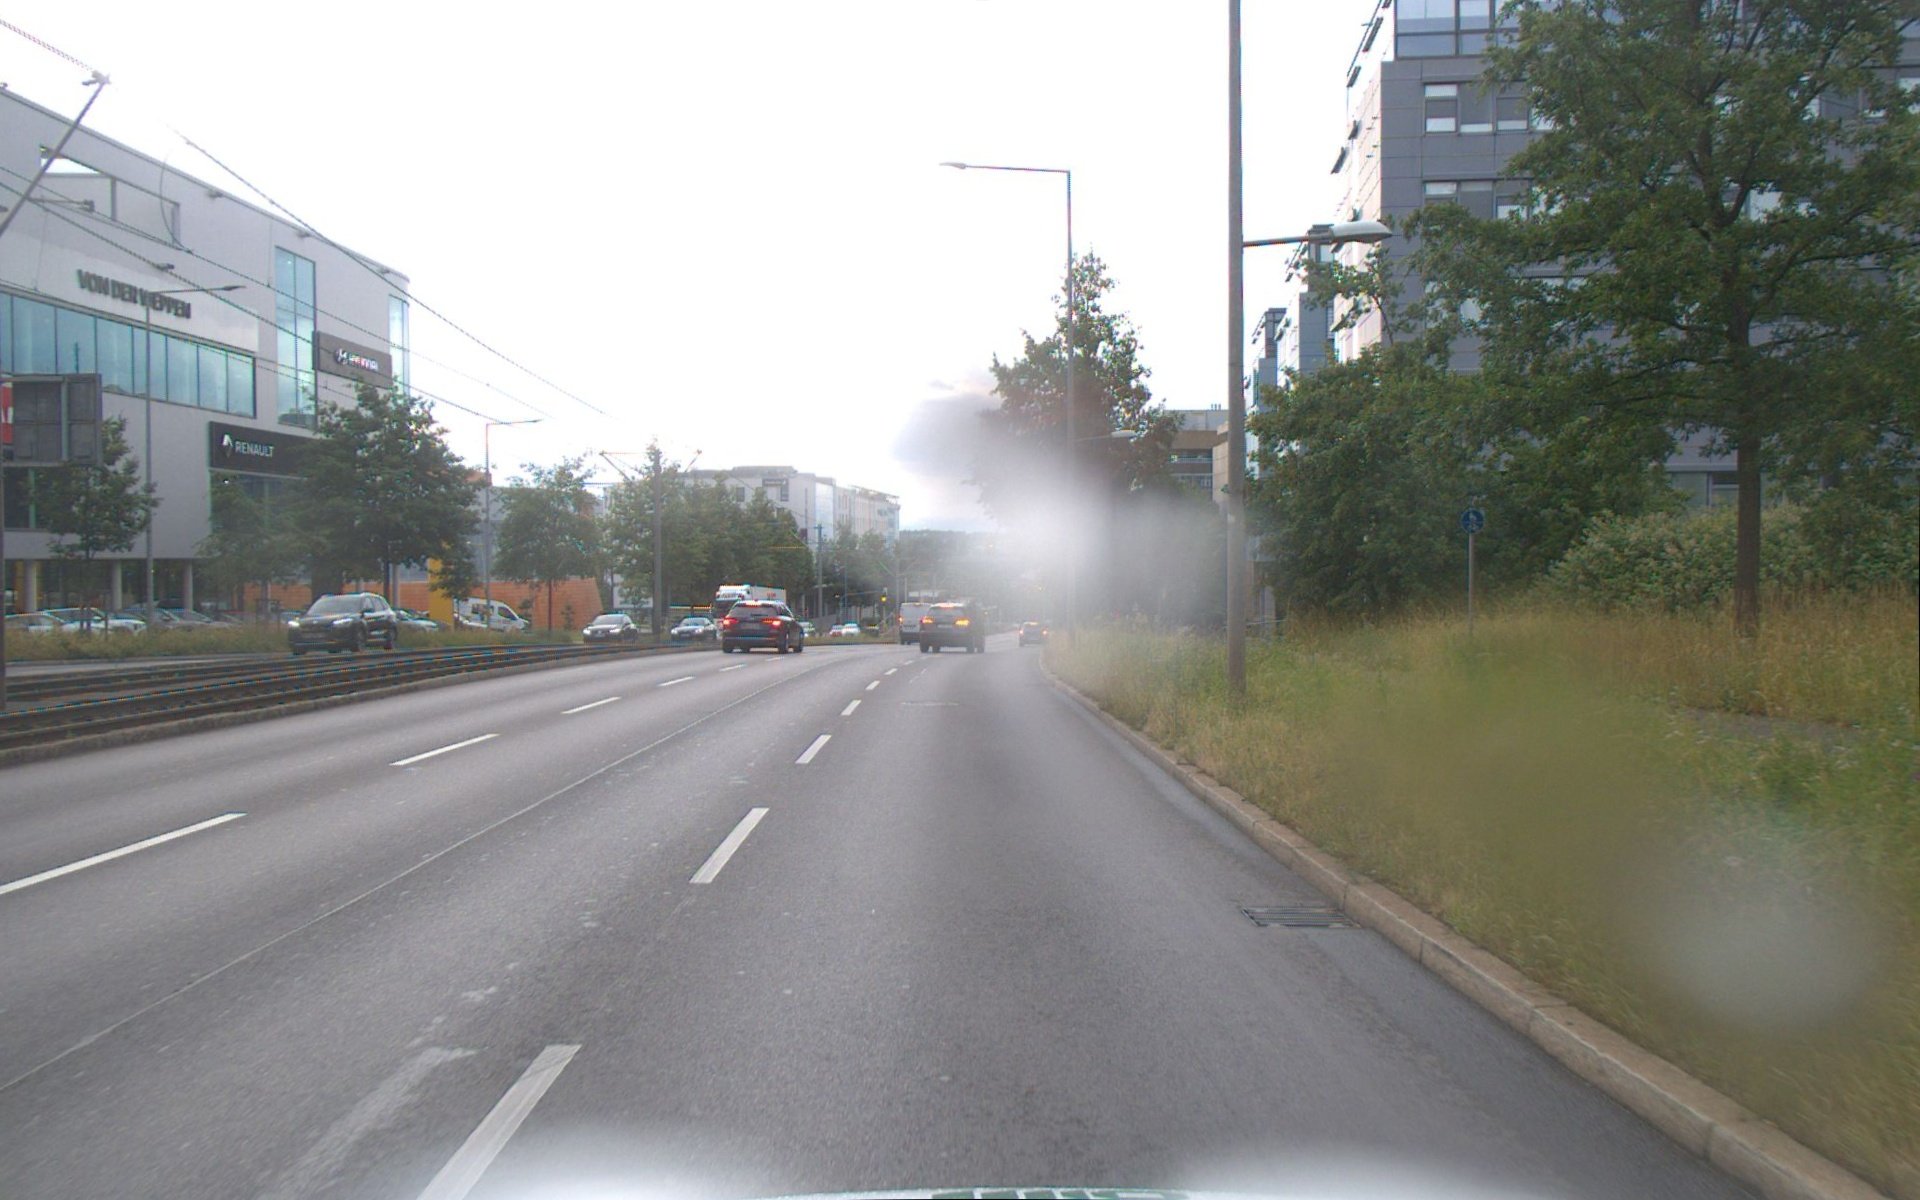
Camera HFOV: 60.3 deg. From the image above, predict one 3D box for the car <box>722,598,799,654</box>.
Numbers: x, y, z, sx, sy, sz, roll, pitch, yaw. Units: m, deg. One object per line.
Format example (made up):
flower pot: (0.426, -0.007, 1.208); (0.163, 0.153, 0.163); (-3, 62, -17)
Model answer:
car: (-5.488, 0.694, 46.007); (1.750, 1.438, 4.803); (1, 0, -3)

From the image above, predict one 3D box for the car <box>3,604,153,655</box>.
car: (-32.634, 1.099, 61.358); (4.549, 1.859, 2.010); (0, -1, -17)

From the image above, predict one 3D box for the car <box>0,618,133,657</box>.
car: (-31.849, 1.321, 58.659); (4.254, 1.330, 1.863); (0, -1, -18)

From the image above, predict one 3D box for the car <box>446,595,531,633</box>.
car: (-31.234, 0.960, 109.607); (5.210, 2.353, 2.014); (2, -2, -12)

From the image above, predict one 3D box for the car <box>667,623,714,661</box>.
car: (-15.088, 2.378, 92.880); (1.973, 2.011, 4.614); (2, -2, -2)

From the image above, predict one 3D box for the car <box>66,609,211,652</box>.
car: (-33.117, 1.241, 66.824); (4.923, 1.683, 2.010); (0, -1, -17)

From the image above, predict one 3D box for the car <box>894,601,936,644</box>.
car: (-2.493, 1.240, 92.765); (2.222, 2.325, 4.758); (1, 0, -1)

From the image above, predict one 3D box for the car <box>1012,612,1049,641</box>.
car: (4.182, 1.566, 98.385); (1.754, 1.619, 3.996); (-1, 0, -4)

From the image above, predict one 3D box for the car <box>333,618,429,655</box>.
car: (-31.607, 1.991, 90.378); (4.509, 2.011, 2.019); (0, -1, -3)

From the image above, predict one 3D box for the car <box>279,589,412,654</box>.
car: (-16.527, 0.607, 44.706); (1.767, 1.645, 4.386); (1, -2, 2)

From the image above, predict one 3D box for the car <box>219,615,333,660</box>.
car: (-30.930, 1.707, 74.932); (4.528, 2.011, 2.010); (0, -1, -17)

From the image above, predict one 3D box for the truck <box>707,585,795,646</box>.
truck: (-15.602, 1.115, 125.298); (2.978, 4.254, 17.211); (1, 0, 5)

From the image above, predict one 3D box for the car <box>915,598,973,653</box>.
car: (-0.520, 0.846, 56.638); (1.883, 1.740, 4.098); (1, 0, 0)

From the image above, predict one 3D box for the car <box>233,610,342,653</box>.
car: (-32.416, 1.524, 79.810); (4.519, 2.011, 2.015); (0, -1, -11)

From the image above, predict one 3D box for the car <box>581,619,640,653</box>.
car: (-16.006, 1.657, 75.906); (1.633, 1.487, 4.239); (1, -2, 2)

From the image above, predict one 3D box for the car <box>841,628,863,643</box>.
car: (-10.978, 3.632, 167.685); (1.627, 1.467, 3.898); (1, -2, 5)
